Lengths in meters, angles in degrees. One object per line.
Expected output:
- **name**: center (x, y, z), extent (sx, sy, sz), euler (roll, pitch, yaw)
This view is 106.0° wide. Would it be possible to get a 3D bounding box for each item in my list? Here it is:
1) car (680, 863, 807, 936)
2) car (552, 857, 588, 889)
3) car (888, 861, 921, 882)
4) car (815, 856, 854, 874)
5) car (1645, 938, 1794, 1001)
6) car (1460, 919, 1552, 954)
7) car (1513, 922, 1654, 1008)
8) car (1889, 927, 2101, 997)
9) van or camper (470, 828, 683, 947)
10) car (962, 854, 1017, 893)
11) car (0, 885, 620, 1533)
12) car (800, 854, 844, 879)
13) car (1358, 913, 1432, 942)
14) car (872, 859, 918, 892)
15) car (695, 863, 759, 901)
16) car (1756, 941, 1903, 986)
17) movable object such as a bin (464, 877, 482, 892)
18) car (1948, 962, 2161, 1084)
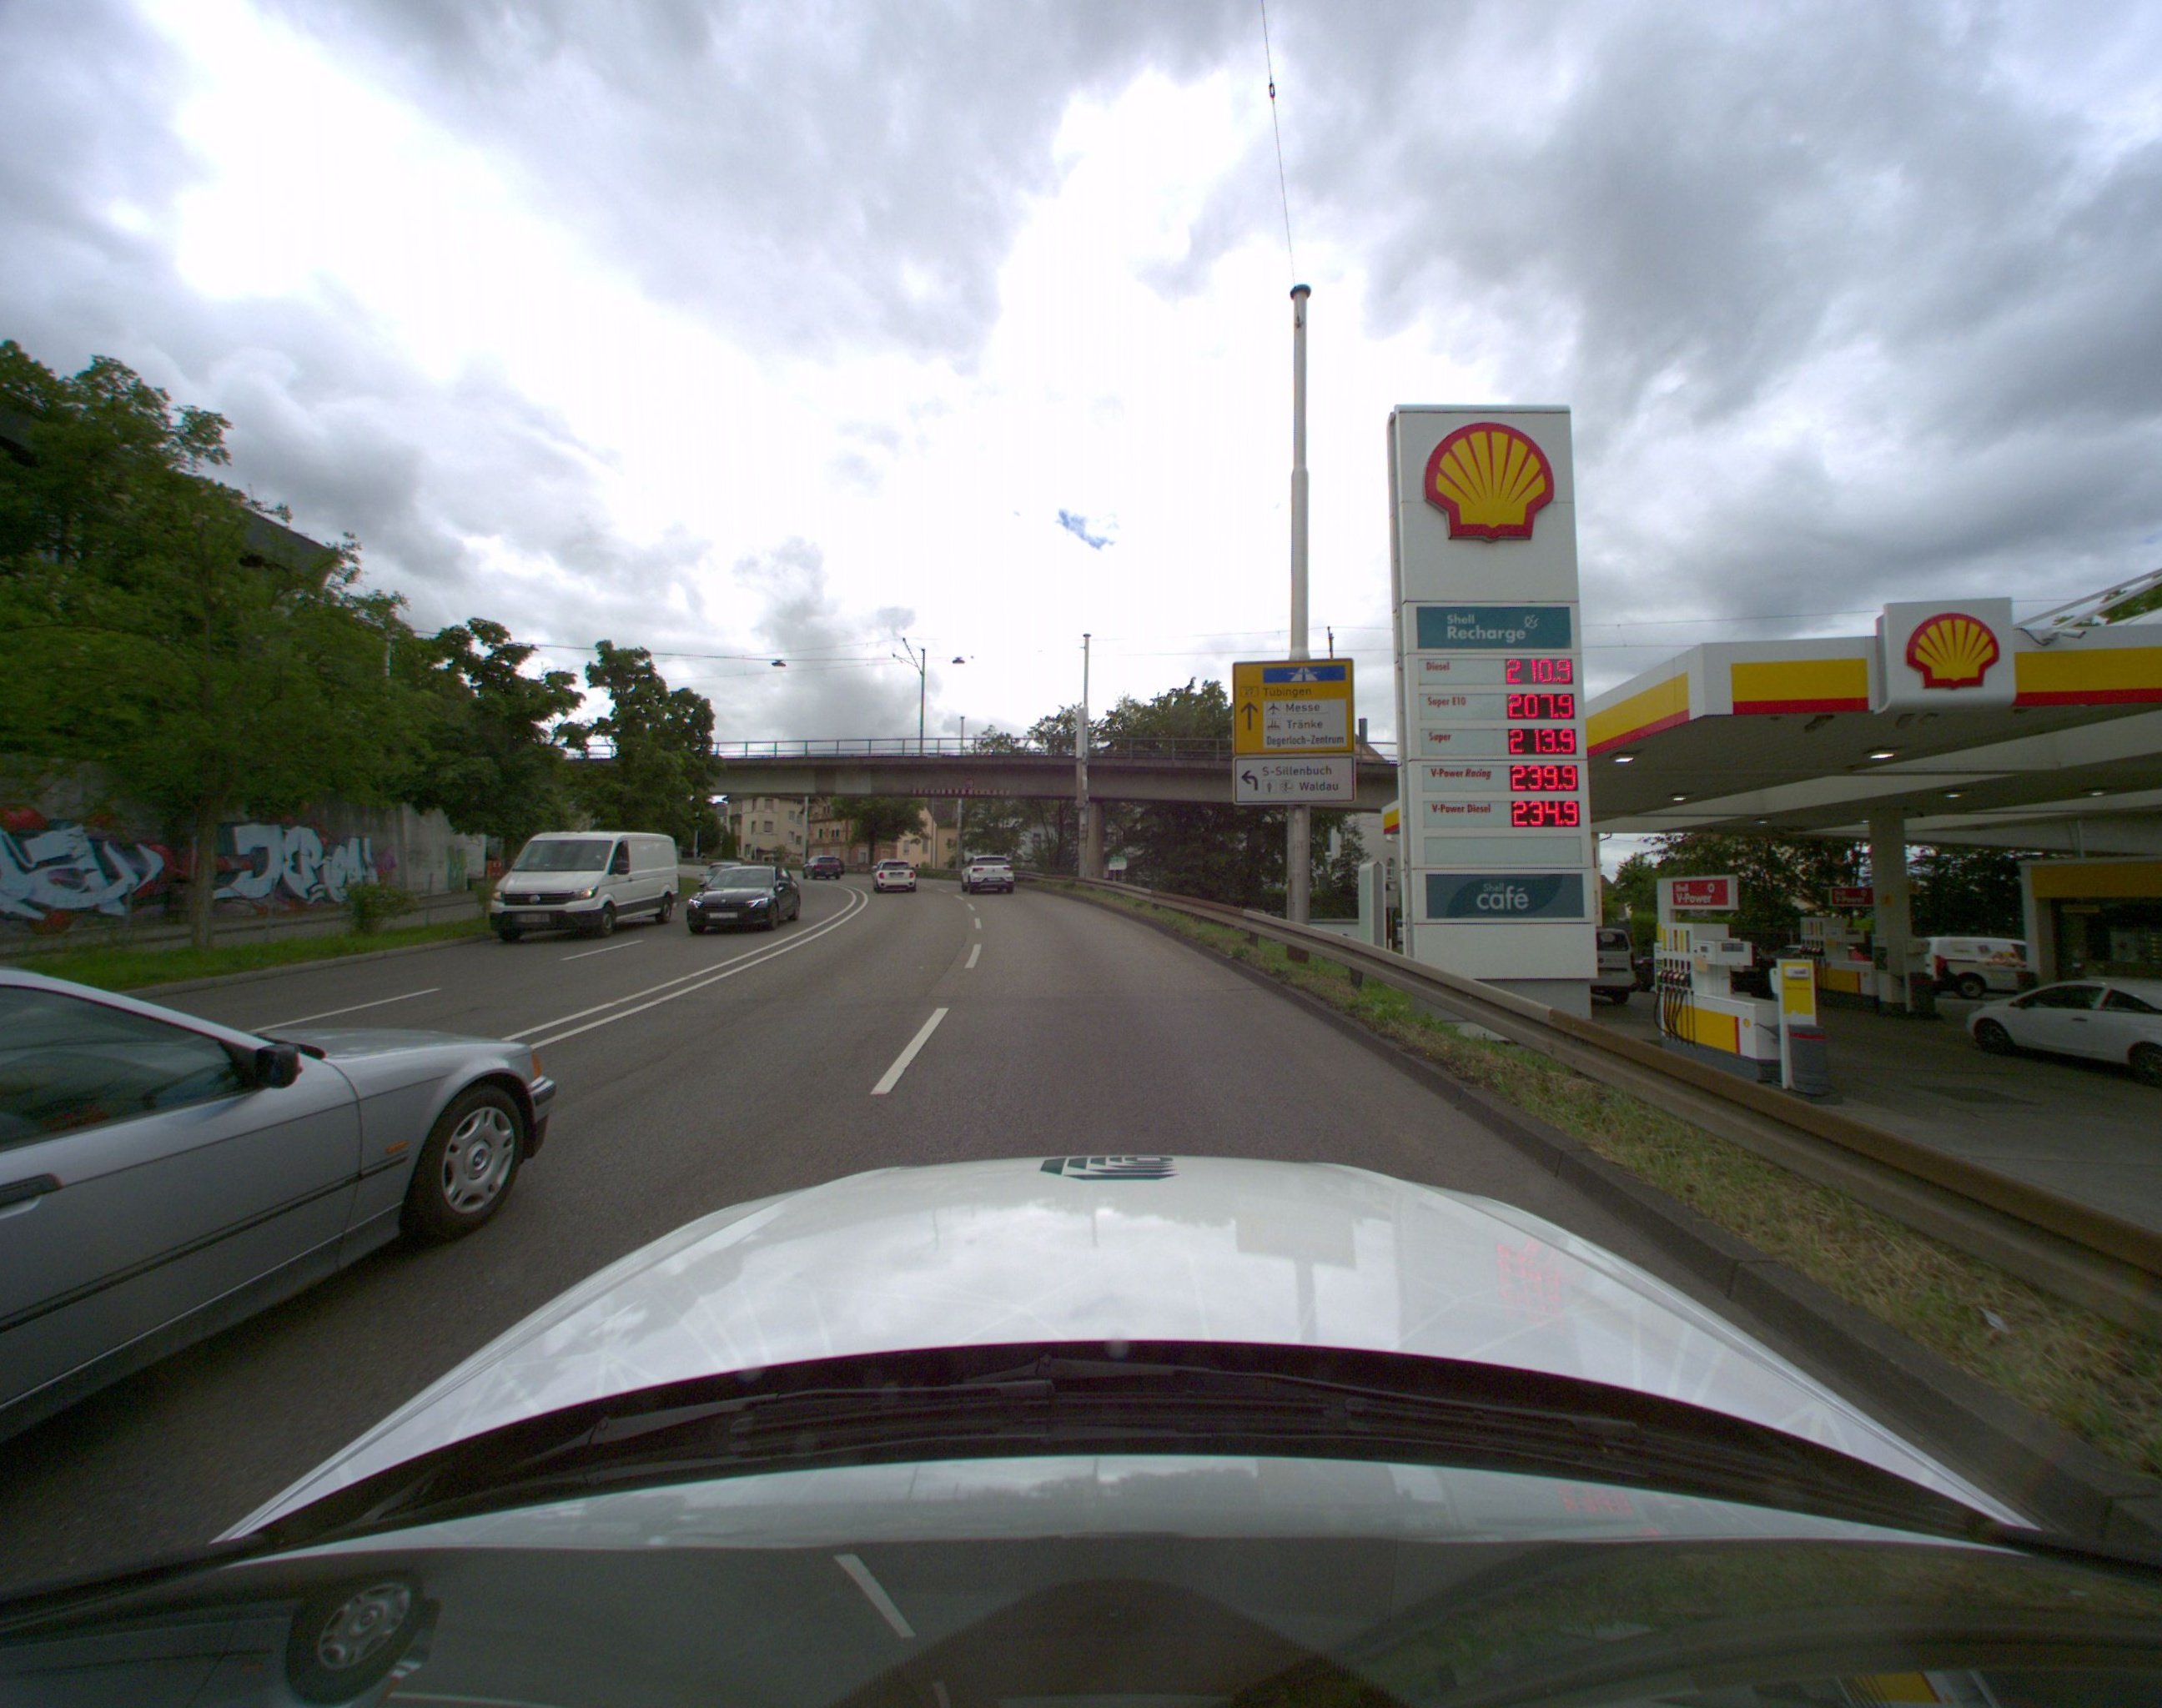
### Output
- **car**: center (-7.824, 0.973, 19.314), extent (1.735, 1.414, 4.416), euler (-2, 0, -9)
- **car**: center (-31.831, 1.142, 50.688), extent (1.779, 1.785, 4.420), euler (-2, 1, -32)
- **car**: center (-12.332, 1.172, 56.856), extent (1.682, 1.409, 3.431), euler (0, 0, -22)
- **car**: center (-20.440, 0.888, 67.561), extent (1.738, 1.376, 3.414), euler (0, 0, -43)
- **car**: center (18.136, 3.242, 23.378), extent (1.724, 1.486, 3.888), euler (-1, -4, 11)
- **car**: center (23.352, 4.514, 44.808), extent (4.249, 1.521, 1.634), euler (2, -2, 37)
- **car**: center (13.765, 2.953, 22.644), extent (1.724, 2.011, 4.726), euler (-1, -4, 11)
- **car**: center (27.267, 3.185, 24.463), extent (3.837, 1.939, 1.747), euler (-1, -4, 14)
- **van or camper**: center (-11.203, 0.635, 18.749), extent (2.008, 2.261, 5.942), euler (-1, 0, -9)
- **car**: center (-3.824, 0.774, 33.531), extent (1.800, 1.519, 3.439), euler (0, 0, -15)
- **car**: center (-3.280, 0.857, 2.025), extent (1.629, 1.383, 4.619), euler (0, 0, 0)
- **car**: center (-17.865, 0.827, 56.113), extent (1.737, 1.640, 3.416), euler (0, 0, -39)
- **car**: center (18.728, 4.361, 48.653), extent (3.722, 1.395, 1.661), euler (2, -2, 40)
- **car**: center (-8.362, 0.933, 36.403), extent (1.727, 1.376, 3.435), euler (0, 0, -18)
- **car**: center (-14.239, 1.085, 32.933), extent (1.705, 1.408, 3.791), euler (-1, 0, -14)
- **car**: center (27.127, 3.941, 29.675), extent (3.582, 1.458, 1.667), euler (-2, -4, 27)
- **movable object such as a bin**: center (-28.866, 1.455, 38.671), extent (0.562, 0.640, 0.574), euler (5, -2, -42)
- **car**: center (16.648, 2.628, 13.090), extent (1.724, 1.486, 3.888), euler (-1, -4, 11)
